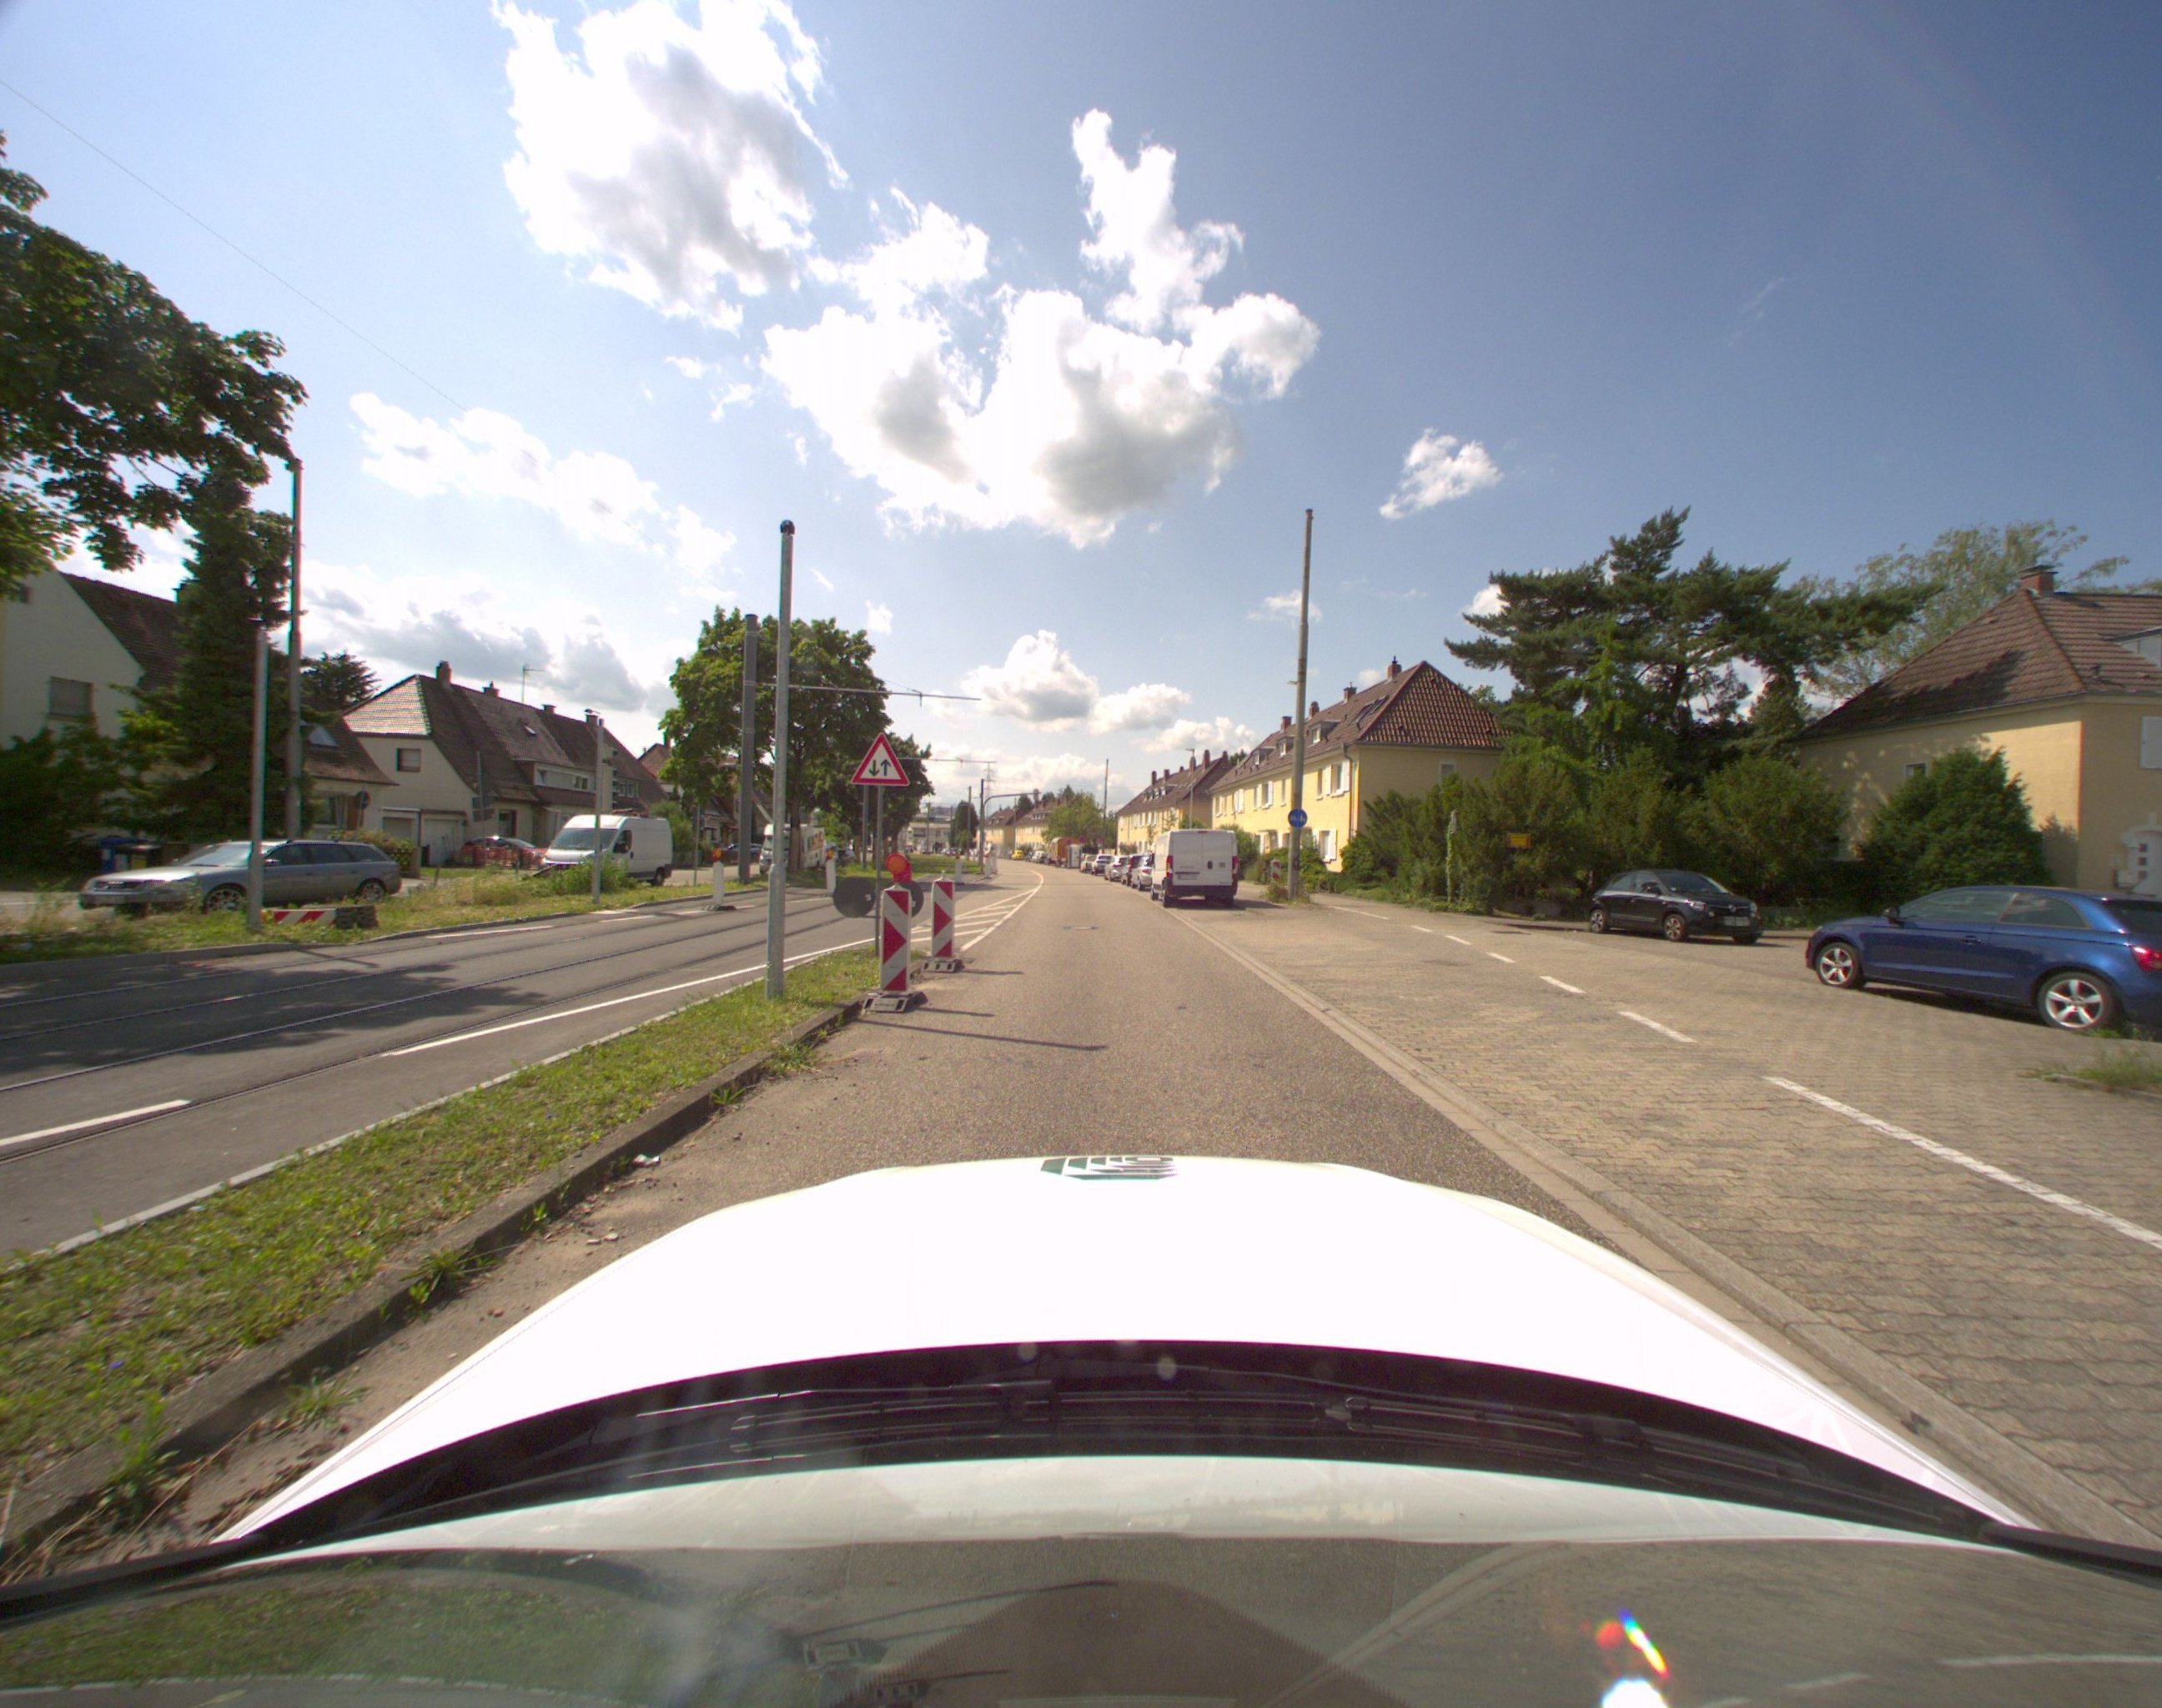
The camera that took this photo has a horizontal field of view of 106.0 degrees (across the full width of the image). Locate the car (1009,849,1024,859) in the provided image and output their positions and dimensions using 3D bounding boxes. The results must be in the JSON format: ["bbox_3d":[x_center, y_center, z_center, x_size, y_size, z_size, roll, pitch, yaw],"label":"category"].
[{"bbox_3d":[-9.852,-0.021,123.625,1.639,1.482,3.913,-1,2,-14],"label":"car"}]

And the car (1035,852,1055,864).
[{"bbox_3d":[-4.526,0.452,101.446,1.707,1.449,4.817,1,0,-11],"label":"car"}]

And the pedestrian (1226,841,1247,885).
[{"bbox_3d":[7.185,0.429,37.748,0.771,2.013,0.761,1,0,-3],"label":"pedestrian"}]

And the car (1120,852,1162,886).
[{"bbox_3d":[2.898,0.697,39.839,1.624,1.550,3.806,1,0,-2],"label":"car"}]

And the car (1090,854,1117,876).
[{"bbox_3d":[1.531,0.728,57.502,1.525,1.481,3.803,1,0,-4],"label":"car"}]

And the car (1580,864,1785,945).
[{"bbox_3d":[13.040,1.026,17.968,1.624,1.547,3.806,2,-1,-2],"label":"car"}]

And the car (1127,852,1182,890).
[{"bbox_3d":[3.095,0.693,34.889,1.704,1.504,4.249,1,0,-4],"label":"car"}]

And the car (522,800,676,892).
[{"bbox_3d":[-15.548,-0.230,26.660,2.148,2.668,4.912,1,0,-2],"label":"car"}]

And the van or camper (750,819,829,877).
[{"bbox_3d":[-16.468,-0.325,46.517,2.372,2.970,7.283,1,0,-5],"label":"van or camper"}]

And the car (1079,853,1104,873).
[{"bbox_3d":[0.799,0.696,63.800,1.461,1.502,4.100,1,0,-7],"label":"car"}]

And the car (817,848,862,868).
[{"bbox_3d":[-17.562,0.262,59.438,1.847,1.387,4.807,2,0,-1],"label":"car"}]

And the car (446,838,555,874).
[{"bbox_3d":[-26.057,0.093,36.640,3.610,1.522,1.668,2,0,-4],"label":"car"}]

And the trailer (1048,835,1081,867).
[{"bbox_3d":[-1.803,-0.304,85.363,2.690,3.226,5.065,1,0,-10],"label":"trailer"}]

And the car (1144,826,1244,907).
[{"bbox_3d":[3.383,0.336,25.682,2.269,2.182,6.367,1,0,0],"label":"car"}]

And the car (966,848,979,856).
[{"bbox_3d":[-21.969,-0.417,164.584,1.627,1.417,3.972,0,1,-21],"label":"car"}]

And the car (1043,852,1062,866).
[{"bbox_3d":[-3.289,0.573,93.679,1.578,1.449,4.437,1,0,-11],"label":"car"}]

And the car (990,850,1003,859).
[{"bbox_3d":[-14.721,0.058,142.223,1.539,1.445,3.717,2,0,-16],"label":"car"}]

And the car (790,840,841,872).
[{"bbox_3d":[-17.370,0.117,53.531,1.990,2.013,4.896,2,0,-5],"label":"car"}]

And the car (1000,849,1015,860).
[{"bbox_3d":[-12.077,0.100,133.857,1.641,1.602,3.907,2,0,-18],"label":"car"}]

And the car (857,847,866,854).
[{"bbox_3d":[-49.800,-0.710,184.638,1.734,1.505,4.537,0,1,-20],"label":"car"}]

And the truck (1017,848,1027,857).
[{"bbox_3d":[-10.666,-0.274,146.562,1.349,1.688,2.427,1,0,-17],"label":"truck"}]

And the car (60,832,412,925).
[{"bbox_3d":[-15.555,0.389,15.489,1.687,1.464,4.754,1,0,0],"label":"car"}]

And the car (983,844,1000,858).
[{"bbox_3d":[-16.173,-0.551,147.356,1.934,2.480,5.485,1,0,-18],"label":"car"}]

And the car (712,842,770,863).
[{"bbox_3d":[-27.428,-0.157,65.845,3.988,1.530,1.867,2,0,-11],"label":"car"}]

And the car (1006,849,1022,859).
[{"bbox_3d":[-10.596,0.000,128.455,1.640,1.482,4.102,2,0,-16],"label":"car"}]

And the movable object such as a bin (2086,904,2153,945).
[{"bbox_3d":[25.283,1.697,19.836,0.697,0.913,0.741,1,0,2],"label":"movable object such as a bin"}]

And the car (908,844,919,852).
[{"bbox_3d":[-41.239,-1.492,200.153,1.962,1.966,5.258,1,0,-20],"label":"car"}]

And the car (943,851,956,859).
[{"bbox_3d":[-24.973,0.211,154.965,1.671,1.449,3.933,-1,1,-20],"label":"car"}]

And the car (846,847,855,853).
[{"bbox_3d":[-59.460,-0.949,210.162,1.886,1.553,4.346,1,0,-22],"label":"car"}]

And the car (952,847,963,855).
[{"bbox_3d":[-26.951,-0.660,177.597,1.770,1.643,3.972,0,1,-21],"label":"car"}]

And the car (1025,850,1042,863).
[{"bbox_3d":[-6.555,0.307,111.438,1.551,1.641,4.226,1,0,-14],"label":"car"}]

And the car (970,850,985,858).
[{"bbox_3d":[-20.209,-0.006,159.595,1.806,1.458,4.731,-1,0,-22],"label":"car"}]

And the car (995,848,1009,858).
[{"bbox_3d":[-13.442,-0.229,137.793,1.640,1.602,4.007,2,0,-16],"label":"car"}]

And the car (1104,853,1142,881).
[{"bbox_3d":[2.302,0.701,45.695,1.745,1.497,4.382,1,0,-2],"label":"car"}]

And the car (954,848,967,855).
[{"bbox_3d":[-25.600,-0.531,172.823,1.770,1.417,3.972,0,1,-21],"label":"car"}]

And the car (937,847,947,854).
[{"bbox_3d":[-32.909,-0.809,192.560,1.770,1.502,3.972,0,1,-21],"label":"car"}]

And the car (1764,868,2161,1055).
[{"bbox_3d":[10.047,0.973,8.960,1.632,1.380,4.293,2,2,4],"label":"car"}]

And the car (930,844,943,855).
[{"bbox_3d":[-35.169,-1.156,198.290,1.967,2.478,6.016,0,1,-22],"label":"car"}]
